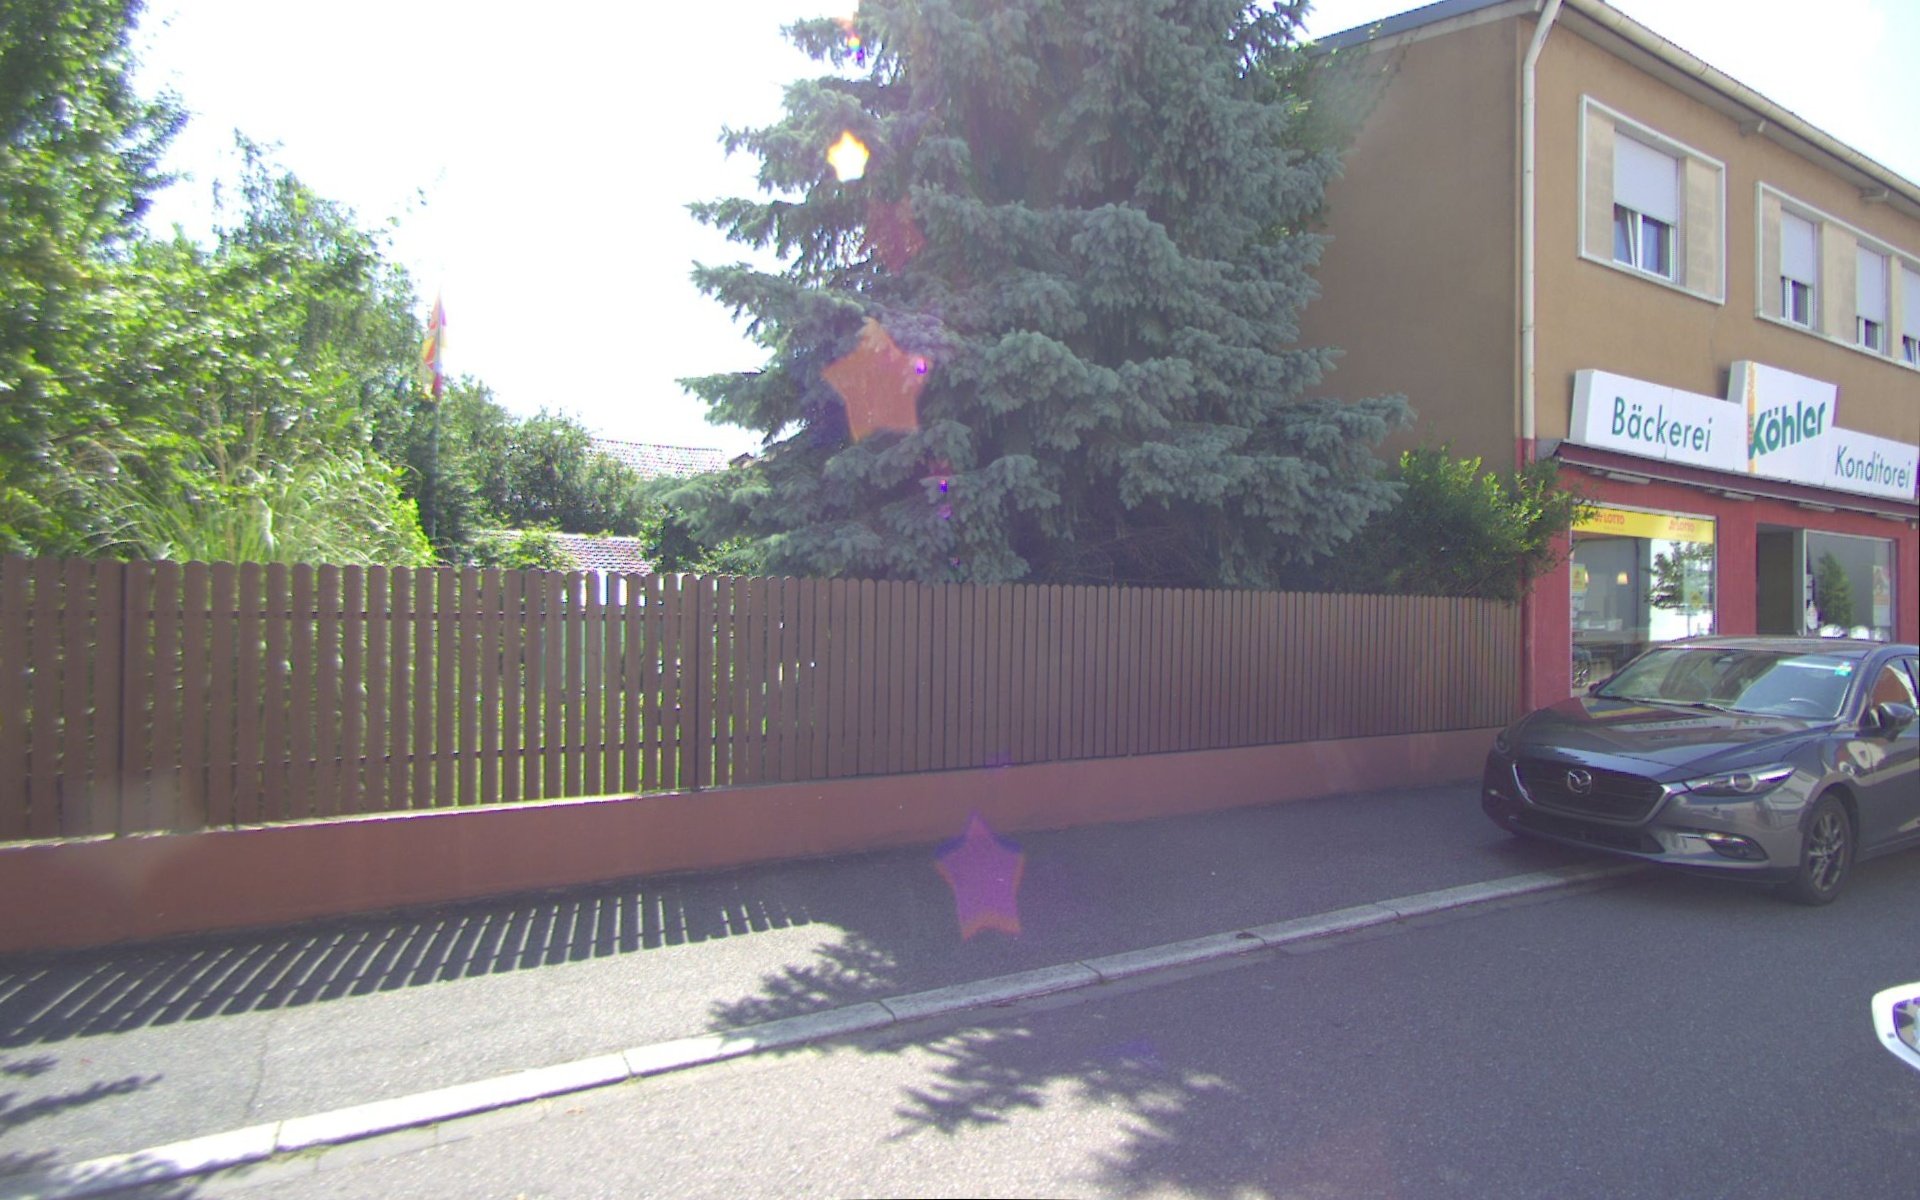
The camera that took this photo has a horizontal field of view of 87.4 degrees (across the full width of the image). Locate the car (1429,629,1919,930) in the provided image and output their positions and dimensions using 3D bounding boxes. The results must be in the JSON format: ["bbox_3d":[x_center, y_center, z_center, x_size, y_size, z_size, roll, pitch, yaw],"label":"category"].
[{"bbox_3d":[5.402,0.947,6.814,4.380,1.479,1.761,1,-1,-28],"label":"car"}]
